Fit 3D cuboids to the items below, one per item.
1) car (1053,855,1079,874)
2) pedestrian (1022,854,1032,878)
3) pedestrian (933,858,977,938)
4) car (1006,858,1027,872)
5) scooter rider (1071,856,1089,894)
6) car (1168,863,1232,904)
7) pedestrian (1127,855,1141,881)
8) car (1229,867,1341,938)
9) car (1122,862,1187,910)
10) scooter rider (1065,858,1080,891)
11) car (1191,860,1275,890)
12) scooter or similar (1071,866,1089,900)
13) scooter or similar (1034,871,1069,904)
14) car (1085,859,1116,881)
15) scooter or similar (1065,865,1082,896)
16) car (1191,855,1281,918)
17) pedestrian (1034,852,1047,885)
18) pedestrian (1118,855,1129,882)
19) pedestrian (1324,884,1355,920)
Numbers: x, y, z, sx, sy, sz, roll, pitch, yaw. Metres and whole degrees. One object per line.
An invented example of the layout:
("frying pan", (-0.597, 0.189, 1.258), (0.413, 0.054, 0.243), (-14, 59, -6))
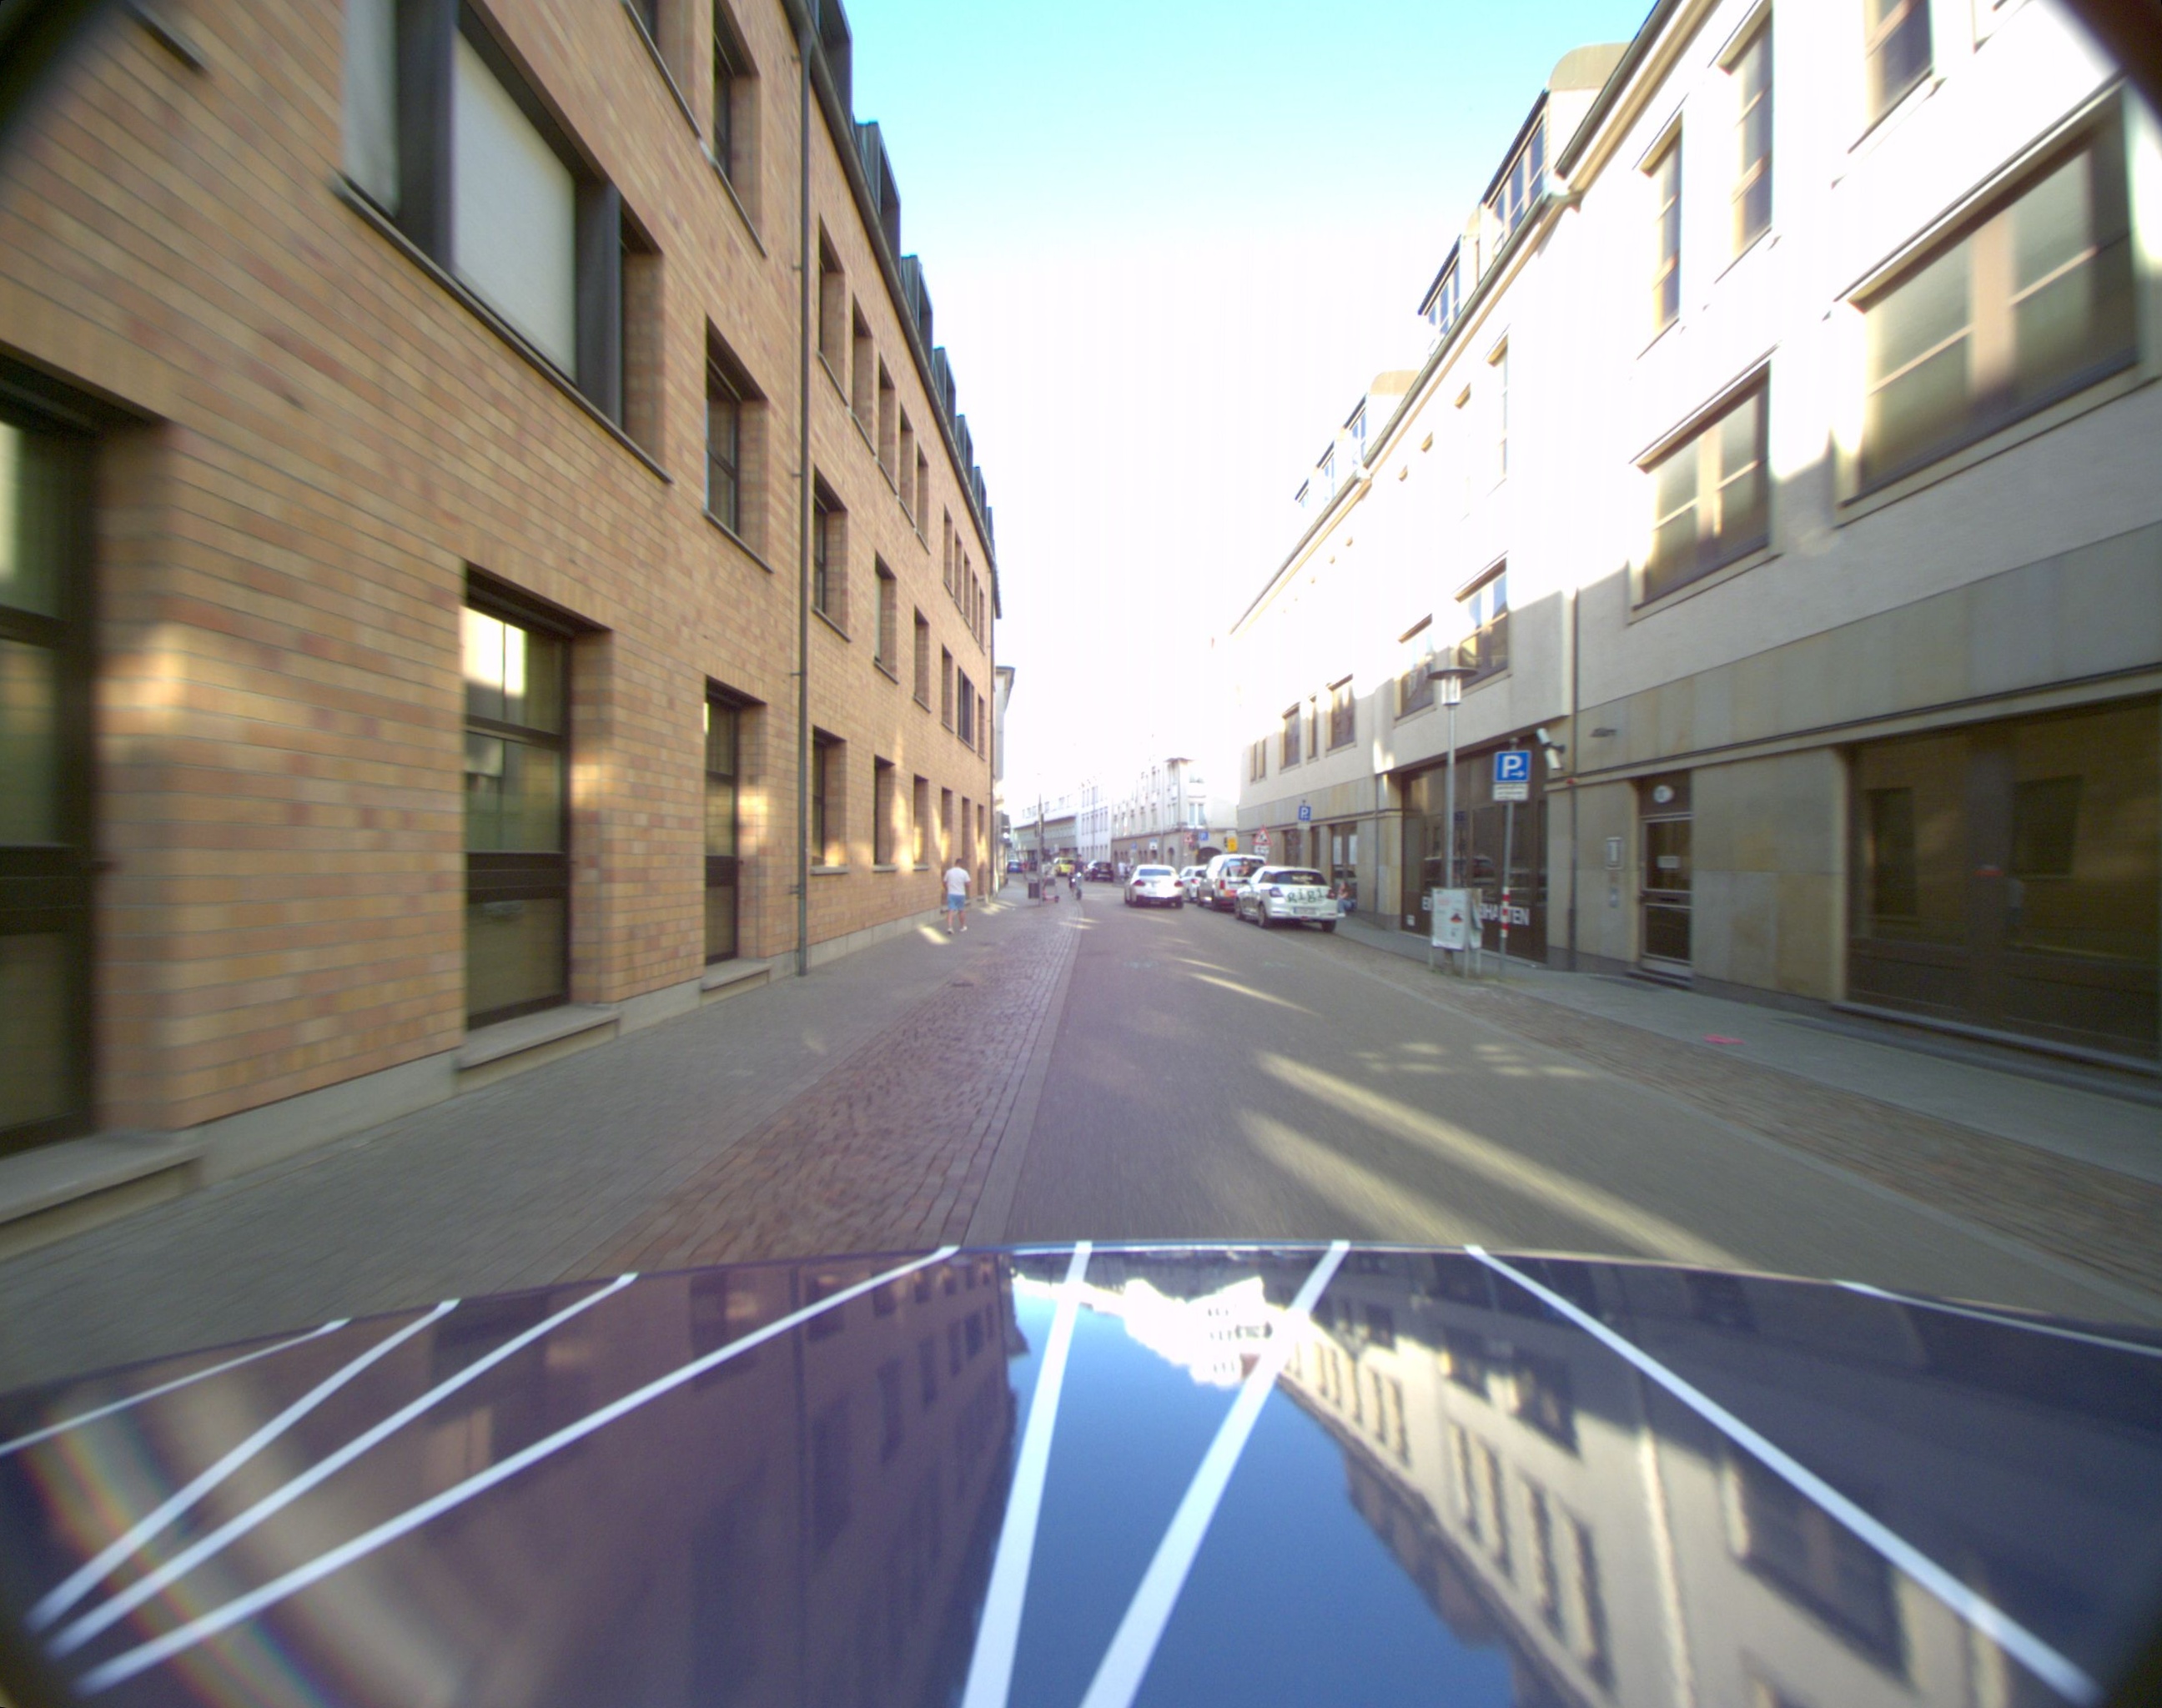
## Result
("car", (-1.508, 0.996, 77.064), (1.890, 1.863, 3.995), (0, 0, -13))
("pedestrian", (-4.446, 0.994, 62.252), (0.716, 2.002, 0.698), (0, 0, -10))
("pedestrian", (-2.779, 0.956, 16.855), (0.762, 1.706, 0.821), (2, 0, 1))
("car", (-7.564, 1.282, 89.071), (1.858, 1.583, 3.802), (1, -2, -14))
("scooter rider", (-0.052, 0.879, 32.399), (0.648, 1.584, 0.599), (-2, 1, -9))
("car", (4.814, 1.162, 31.301), (1.742, 1.483, 3.798), (2, 0, -5))
("pedestrian", (4.084, 1.101, 58.633), (0.938, 2.002, 0.698), (0, 0, -10))
("car", (5.018, 1.131, 19.194), (1.674, 1.513, 3.775), (3, 0, -1))
("car", (2.461, 1.037, 26.474), (1.719, 1.508, 4.159), (1, 0, -2))
("scooter rider", (-0.386, 0.953, 35.905), (0.592, 1.499, 0.599), (-2, 1, -9))
("car", (7.995, 1.078, 40.175), (4.001, 1.537, 1.762), (0, 0, -11))
("scooter or similar", (-0.045, 1.230, 32.424), (0.524, 1.388, 1.554), (1, 0, -9))
("scooter or similar", (-1.133, 1.290, 29.676), (0.537, 1.228, 1.422), (-1, -1, 39))
("car", (1.538, 1.258, 61.433), (1.889, 1.694, 3.997), (1, 0, -8))
("scooter or similar", (-0.343, 1.236, 35.732), (0.550, 1.388, 1.554), (1, 0, -9))
("car", (5.041, 0.995, 25.376), (1.904, 1.846, 4.733), (2, 0, -1))
("pedestrian", (-2.548, 0.905, 47.703), (0.716, 2.002, 0.698), (0, 0, -10))
("pedestrian", (3.262, 1.108, 58.302), (0.716, 2.002, 0.698), (0, 0, -10))
("pedestrian", (7.487, 1.384, 22.005), (0.657, 1.029, 0.617), (0, 0, -5))
